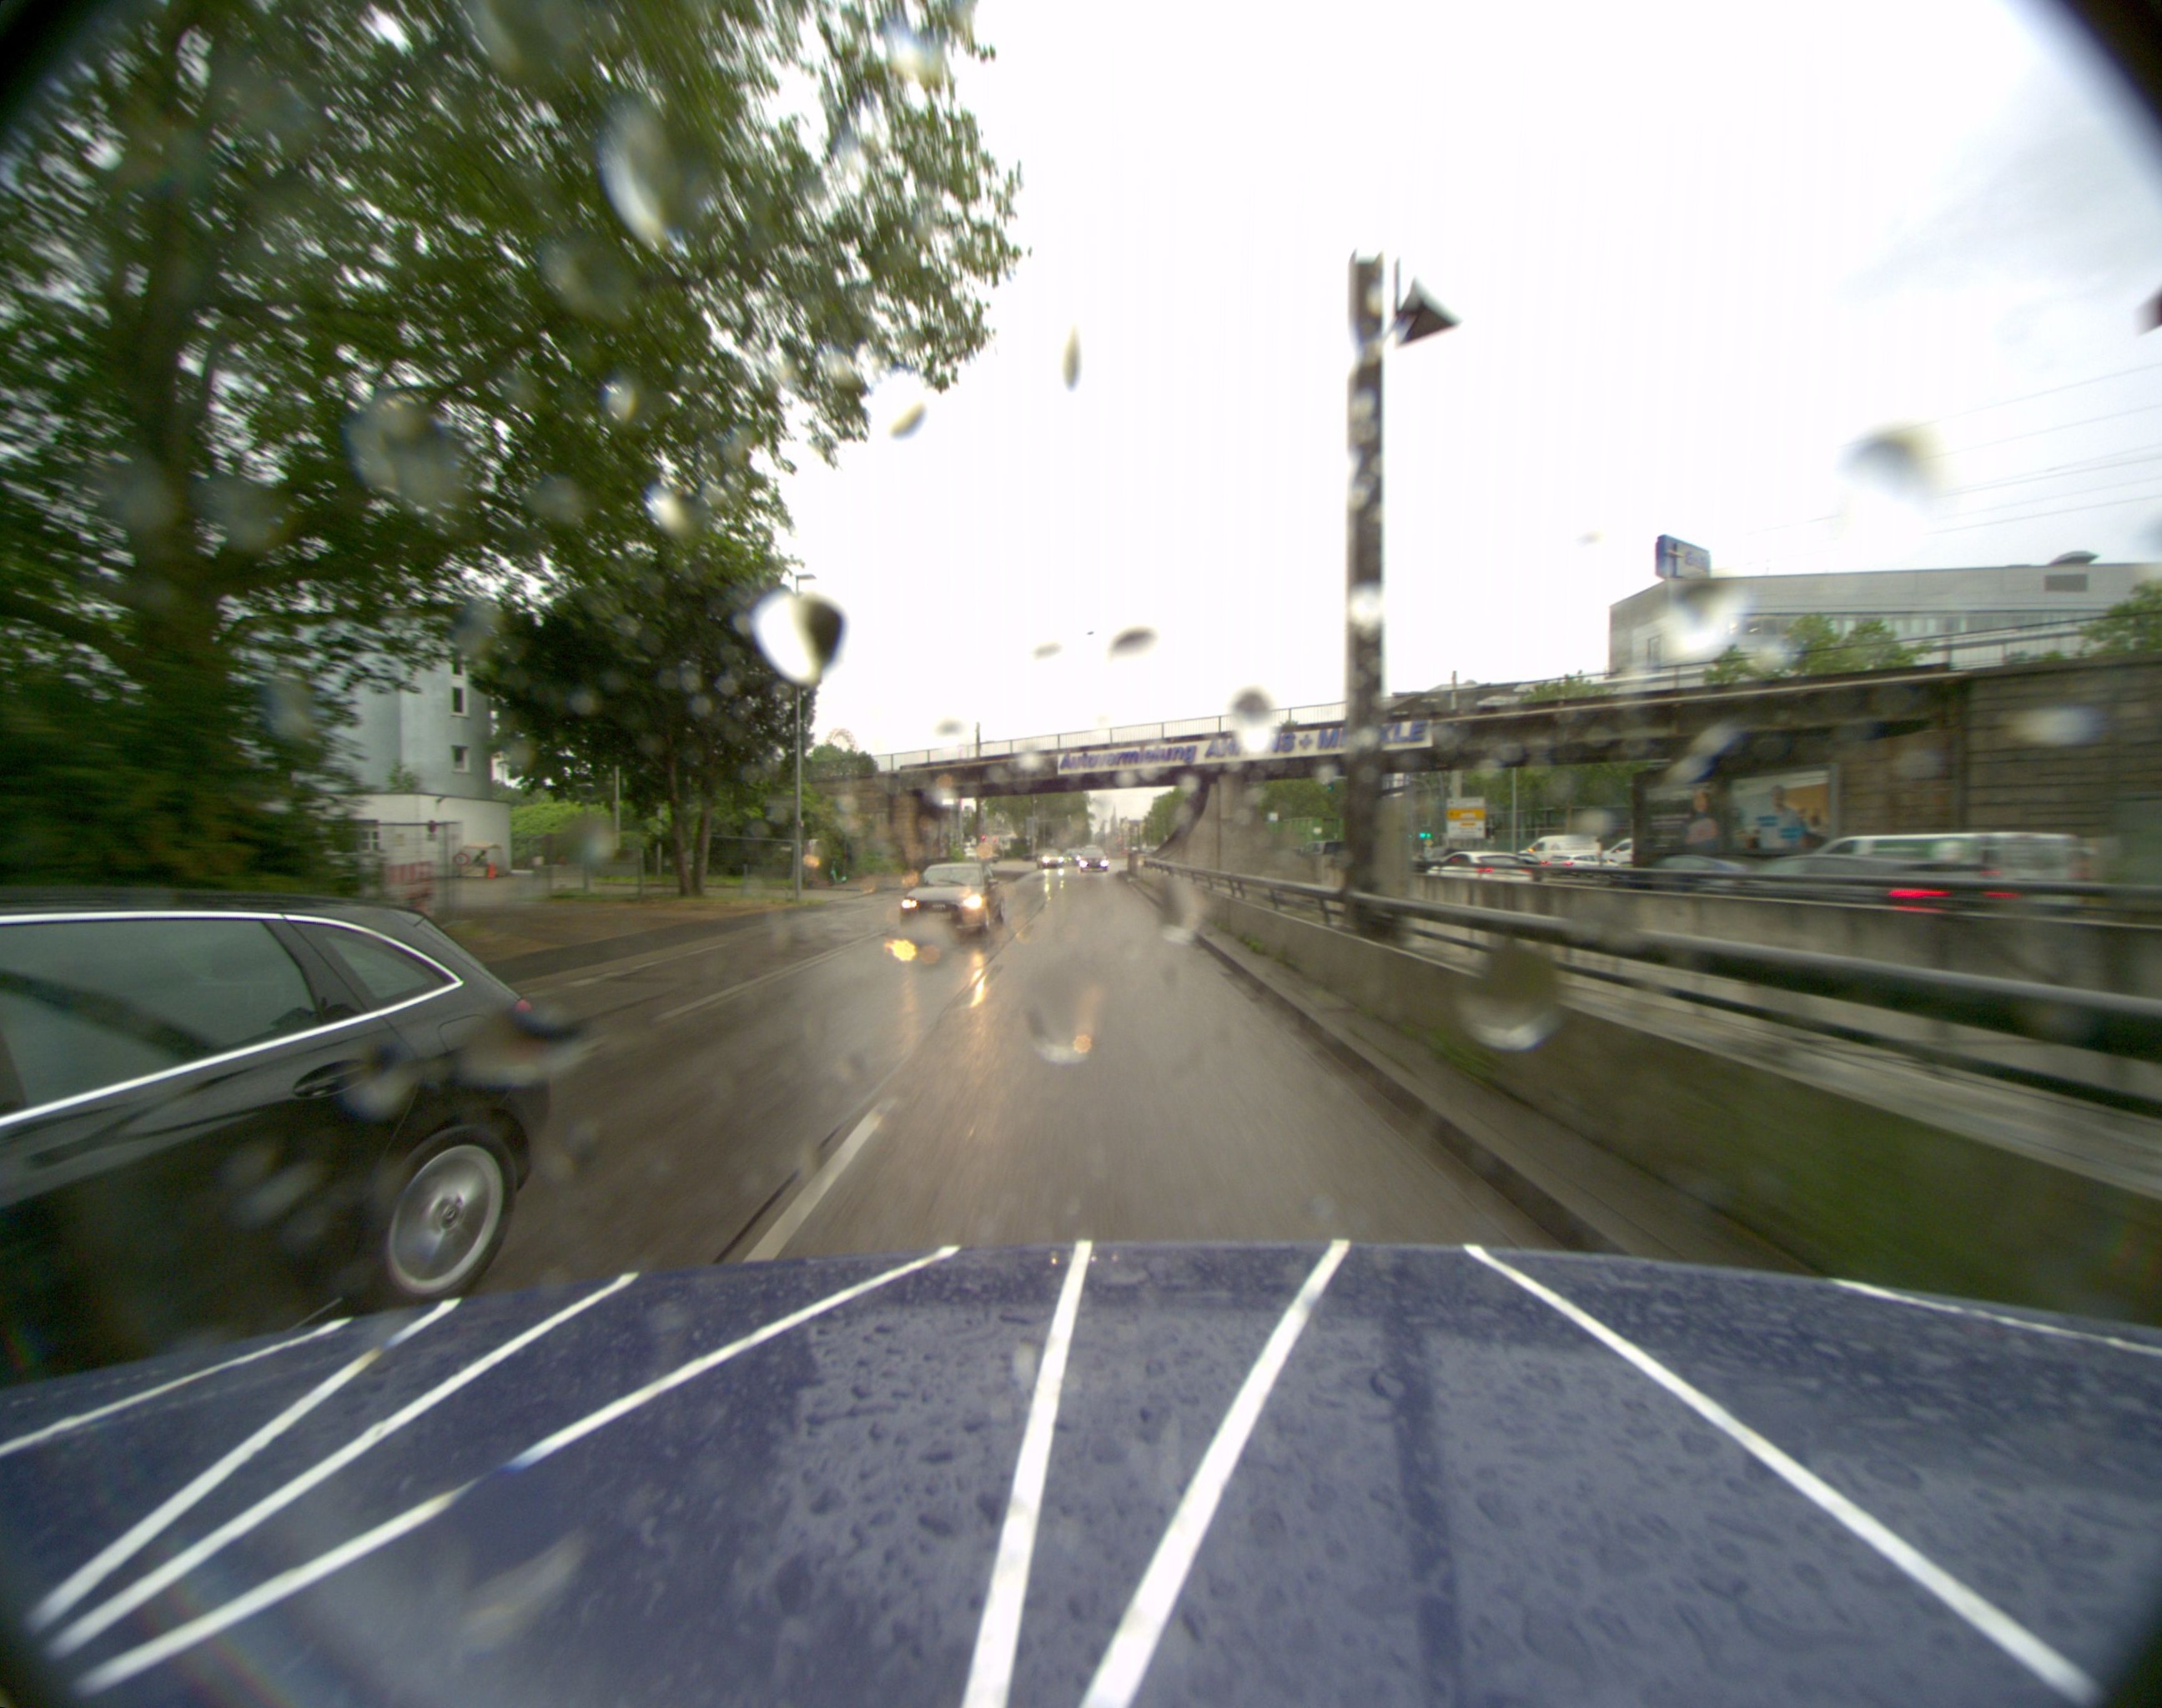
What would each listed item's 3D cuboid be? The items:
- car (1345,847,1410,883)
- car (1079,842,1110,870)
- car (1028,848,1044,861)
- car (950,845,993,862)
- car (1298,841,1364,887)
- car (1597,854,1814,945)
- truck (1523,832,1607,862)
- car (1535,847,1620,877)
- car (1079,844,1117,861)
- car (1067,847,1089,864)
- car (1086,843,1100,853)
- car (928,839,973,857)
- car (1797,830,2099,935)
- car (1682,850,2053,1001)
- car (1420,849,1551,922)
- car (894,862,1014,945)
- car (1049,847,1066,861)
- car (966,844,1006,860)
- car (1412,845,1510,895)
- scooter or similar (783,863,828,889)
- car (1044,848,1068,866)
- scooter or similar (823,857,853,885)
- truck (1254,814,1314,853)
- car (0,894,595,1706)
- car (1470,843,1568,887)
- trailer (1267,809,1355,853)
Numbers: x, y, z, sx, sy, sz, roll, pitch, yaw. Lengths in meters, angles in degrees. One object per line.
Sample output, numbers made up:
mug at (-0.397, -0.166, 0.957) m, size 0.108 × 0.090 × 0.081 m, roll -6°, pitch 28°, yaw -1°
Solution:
car at (16.364, 0.555, 42.140) m, size 1.998 × 1.780 × 4.196 m, roll -2°, pitch 1°, yaw 1°
car at (0.976, 0.154, 52.850) m, size 1.974 × 1.794 × 4.159 m, roll -1°, pitch 0°, yaw 4°
car at (-5.247, 0.080, 88.869) m, size 1.821 × 1.521 × 4.157 m, roll -1°, pitch 0°, yaw -3°
car at (-11.330, -0.004, 78.409) m, size 4.412 × 1.689 × 1.875 m, roll -1°, pitch 0°, yaw 39°
car at (13.147, 0.474, 40.234) m, size 1.998 × 2.230 × 4.366 m, roll -2°, pitch 1°, yaw 1°
car at (16.093, 1.059, 19.967) m, size 1.998 × 2.002 × 4.510 m, roll -2°, pitch 1°, yaw 1°
truck at (36.454, -0.508, 57.277) m, size 5.248 × 2.002 × 2.219 m, roll -2°, pitch 1°, yaw 36°
car at (29.036, 0.424, 44.448) m, size 4.200 × 1.540 × 1.997 m, roll -2°, pitch 1°, yaw -20°
car at (1.694, -0.171, 78.850) m, size 2.127 × 1.689 × 4.149 m, roll -1°, pitch 0°, yaw -29°
car at (-0.227, 0.140, 69.163) m, size 1.821 × 1.521 × 4.159 m, roll -1°, pitch 0°, yaw 2°
car at (1.728, -0.915, 114.246) m, size 1.821 × 1.521 × 4.157 m, roll -1°, pitch 0°, yaw -3°
car at (-12.616, -0.581, 73.535) m, size 4.158 × 1.689 × 1.869 m, roll -1°, pitch 0°, yaw -7°
car at (19.076, 0.534, 17.075) m, size 1.998 × 2.002 × 4.196 m, roll -2°, pitch 1°, yaw 1°
car at (12.537, 0.987, 12.579) m, size 1.998 × 2.002 × 3.999 m, roll -2°, pitch 1°, yaw 1°
car at (12.637, 0.905, 24.069) m, size 1.998 × 2.002 × 3.999 m, roll -2°, pitch 1°, yaw 1°
car at (-2.521, 0.935, 15.931) m, size 1.641 × 1.377 × 3.782 m, roll -2°, pitch 1°, yaw 3°
car at (-2.615, 0.031, 84.170) m, size 1.821 × 1.521 × 4.157 m, roll -1°, pitch 0°, yaw -3°
car at (-10.115, -0.217, 80.861) m, size 3.994 × 1.689 × 1.871 m, roll -1°, pitch 0°, yaw 0°
car at (16.044, 0.606, 32.392) m, size 1.998 × 1.918 × 4.366 m, roll -2°, pitch 1°, yaw 1°
scooter or similar at (-11.462, 0.900, 31.626) m, size 0.452 × 1.004 × 1.742 m, roll -1°, pitch 1°, yaw 38°
car at (-2.074, 0.257, 65.287) m, size 1.821 × 1.521 × 4.159 m, roll -1°, pitch 0°, yaw 1°
scooter or similar at (-10.645, 0.741, 33.394) m, size 0.453 × 1.152 × 1.828 m, roll -2°, pitch 1°, yaw 8°
truck at (18.647, -1.856, 70.170) m, size 3.384 × 3.290 × 6.521 m, roll -2°, pitch 1°, yaw -4°
car at (-3.096, 0.974, 1.115) m, size 1.821 × 1.521 × 4.422 m, roll -3°, pitch 0°, yaw 1°
car at (19.650, 0.431, 34.289) m, size 1.998 × 1.780 × 4.196 m, roll -2°, pitch 1°, yaw 1°
trailer at (19.032, -1.805, 63.863) m, size 3.331 × 3.241 × 11.117 m, roll -2°, pitch 1°, yaw -3°
